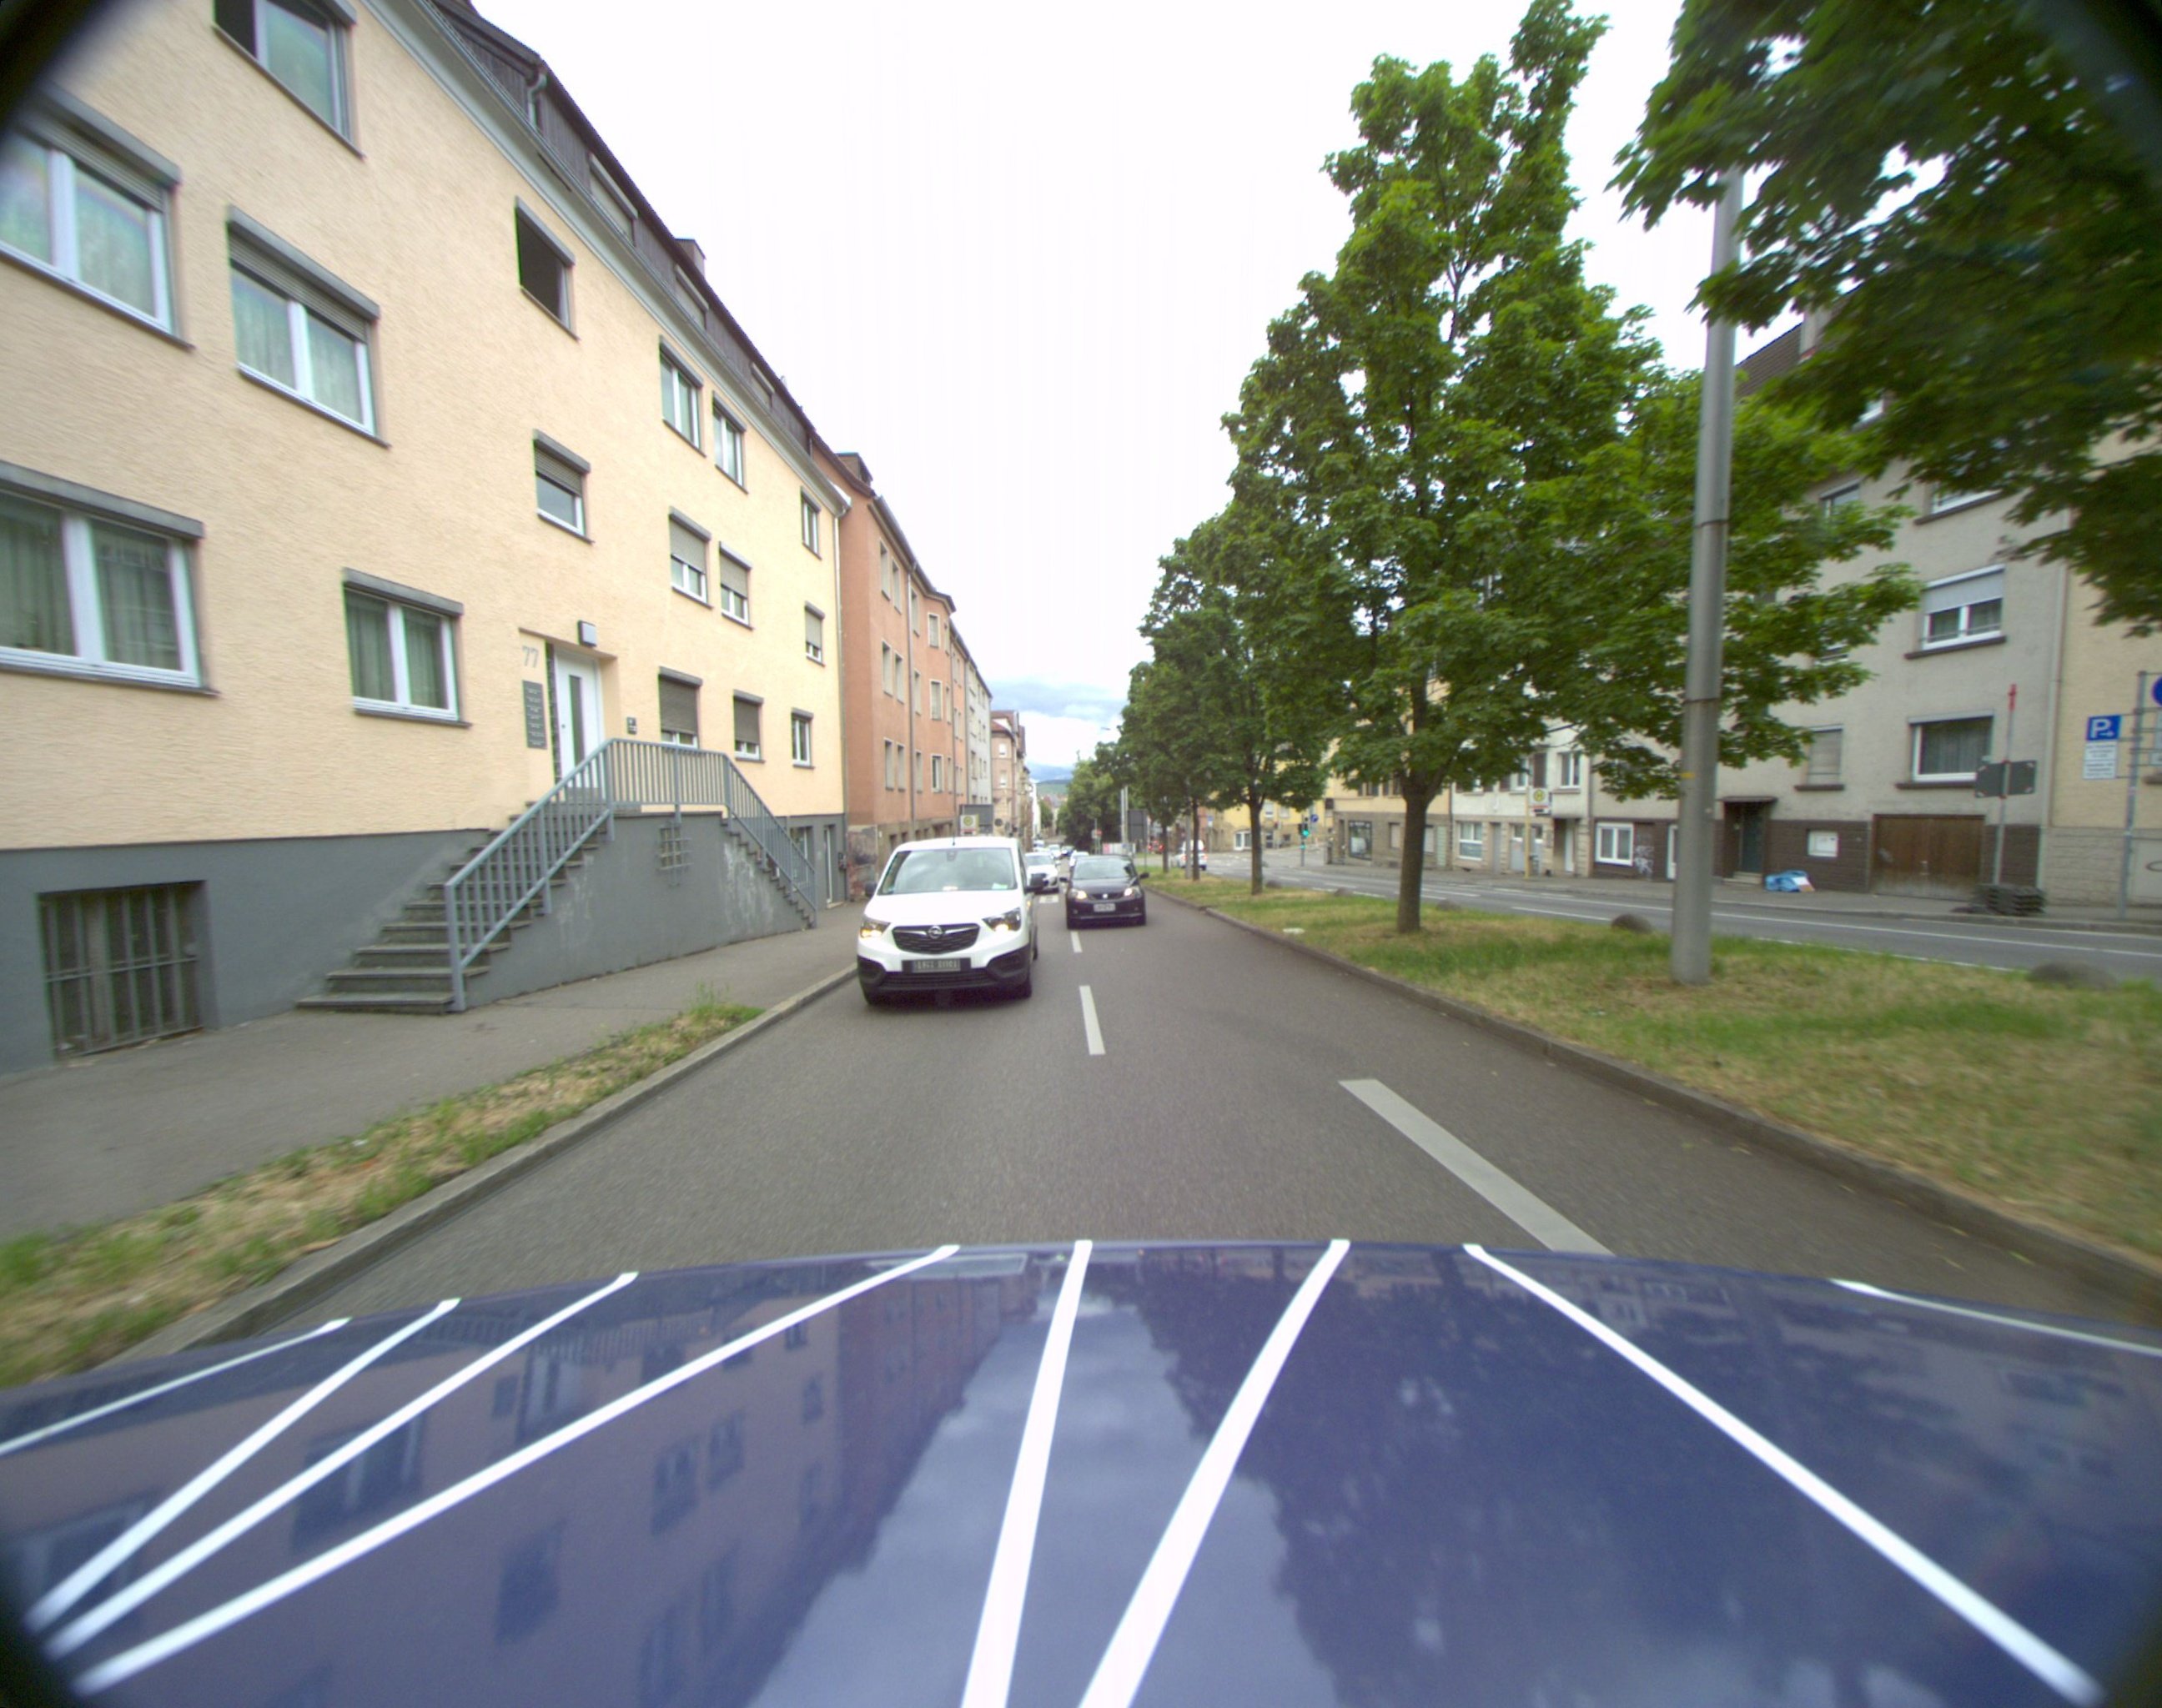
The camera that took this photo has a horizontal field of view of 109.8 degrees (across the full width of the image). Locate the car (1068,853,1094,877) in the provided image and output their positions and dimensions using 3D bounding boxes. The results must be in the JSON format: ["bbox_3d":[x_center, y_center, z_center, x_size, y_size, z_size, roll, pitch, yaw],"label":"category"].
[{"bbox_3d":[-0.051,0.801,58.425,1.784,1.584,3.530,1,3,-4],"label":"car"}]

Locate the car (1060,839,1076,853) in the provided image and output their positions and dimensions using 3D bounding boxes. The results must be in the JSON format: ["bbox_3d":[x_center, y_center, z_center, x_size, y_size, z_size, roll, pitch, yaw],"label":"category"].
[{"bbox_3d":[-1.630,-1.045,95.606,1.784,1.584,3.530,1,3,-4],"label":"car"}]

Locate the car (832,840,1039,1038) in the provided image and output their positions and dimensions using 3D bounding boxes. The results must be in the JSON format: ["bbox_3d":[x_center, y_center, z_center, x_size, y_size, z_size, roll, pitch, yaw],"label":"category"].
[{"bbox_3d":[-1.499,0.764,9.622,1.789,1.779,4.842,-3,1,-2],"label":"car"}]

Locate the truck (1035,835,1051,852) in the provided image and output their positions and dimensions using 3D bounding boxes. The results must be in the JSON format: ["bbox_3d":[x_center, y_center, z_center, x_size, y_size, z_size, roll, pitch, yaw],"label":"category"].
[{"bbox_3d":[-7.020,-1.967,139.952,2.553,2.891,7.775,0,1,0],"label":"truck"}]

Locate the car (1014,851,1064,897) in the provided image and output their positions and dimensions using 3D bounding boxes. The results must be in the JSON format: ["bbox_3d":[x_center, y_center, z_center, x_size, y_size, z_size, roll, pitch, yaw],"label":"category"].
[{"bbox_3d":[-1.672,0.752,30.975,1.780,1.598,4.162,-4,1,-2],"label":"car"}]

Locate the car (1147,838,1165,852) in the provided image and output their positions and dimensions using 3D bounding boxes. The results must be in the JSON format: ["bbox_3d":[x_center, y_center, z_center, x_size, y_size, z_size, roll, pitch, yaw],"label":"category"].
[{"bbox_3d":[10.074,-1.168,102.869,1.884,1.805,4.351,-2,-1,-1],"label":"car"}]

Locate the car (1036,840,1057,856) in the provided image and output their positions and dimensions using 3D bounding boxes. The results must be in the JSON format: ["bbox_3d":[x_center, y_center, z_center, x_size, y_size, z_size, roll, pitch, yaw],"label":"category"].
[{"bbox_3d":[-3.251,-0.621,72.395,1.842,1.477,3.999,0,1,0],"label":"car"}]

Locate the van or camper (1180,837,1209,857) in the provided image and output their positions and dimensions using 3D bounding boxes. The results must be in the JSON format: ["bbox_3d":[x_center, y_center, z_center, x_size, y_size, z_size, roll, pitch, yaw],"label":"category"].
[{"bbox_3d":[10.573,-0.635,70.933,1.913,1.751,4.653,-2,1,-1],"label":"van or camper"}]

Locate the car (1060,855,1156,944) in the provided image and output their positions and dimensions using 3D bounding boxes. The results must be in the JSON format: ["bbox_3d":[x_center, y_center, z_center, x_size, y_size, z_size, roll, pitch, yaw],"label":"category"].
[{"bbox_3d":[0.446,0.829,15.641,1.604,1.449,3.682,-3,2,-3],"label":"car"}]

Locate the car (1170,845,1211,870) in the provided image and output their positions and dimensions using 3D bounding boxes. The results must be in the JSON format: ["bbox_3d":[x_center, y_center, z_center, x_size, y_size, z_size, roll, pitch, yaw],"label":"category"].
[{"bbox_3d":[6.964,0.185,48.810,1.750,1.459,4.584,-1,1,-2],"label":"car"}]

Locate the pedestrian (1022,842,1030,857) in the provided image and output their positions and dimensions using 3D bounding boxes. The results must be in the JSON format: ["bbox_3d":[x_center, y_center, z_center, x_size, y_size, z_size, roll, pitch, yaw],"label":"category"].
[{"bbox_3d":[-6.042,-0.472,83.474,0.735,1.638,1.004,-2,2,-4],"label":"pedestrian"}]

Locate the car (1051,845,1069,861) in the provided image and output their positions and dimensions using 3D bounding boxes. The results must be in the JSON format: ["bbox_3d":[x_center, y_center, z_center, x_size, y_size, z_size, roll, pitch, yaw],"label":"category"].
[{"bbox_3d":[-2.310,-0.139,83.658,1.784,1.584,3.530,1,3,-4],"label":"car"}]
